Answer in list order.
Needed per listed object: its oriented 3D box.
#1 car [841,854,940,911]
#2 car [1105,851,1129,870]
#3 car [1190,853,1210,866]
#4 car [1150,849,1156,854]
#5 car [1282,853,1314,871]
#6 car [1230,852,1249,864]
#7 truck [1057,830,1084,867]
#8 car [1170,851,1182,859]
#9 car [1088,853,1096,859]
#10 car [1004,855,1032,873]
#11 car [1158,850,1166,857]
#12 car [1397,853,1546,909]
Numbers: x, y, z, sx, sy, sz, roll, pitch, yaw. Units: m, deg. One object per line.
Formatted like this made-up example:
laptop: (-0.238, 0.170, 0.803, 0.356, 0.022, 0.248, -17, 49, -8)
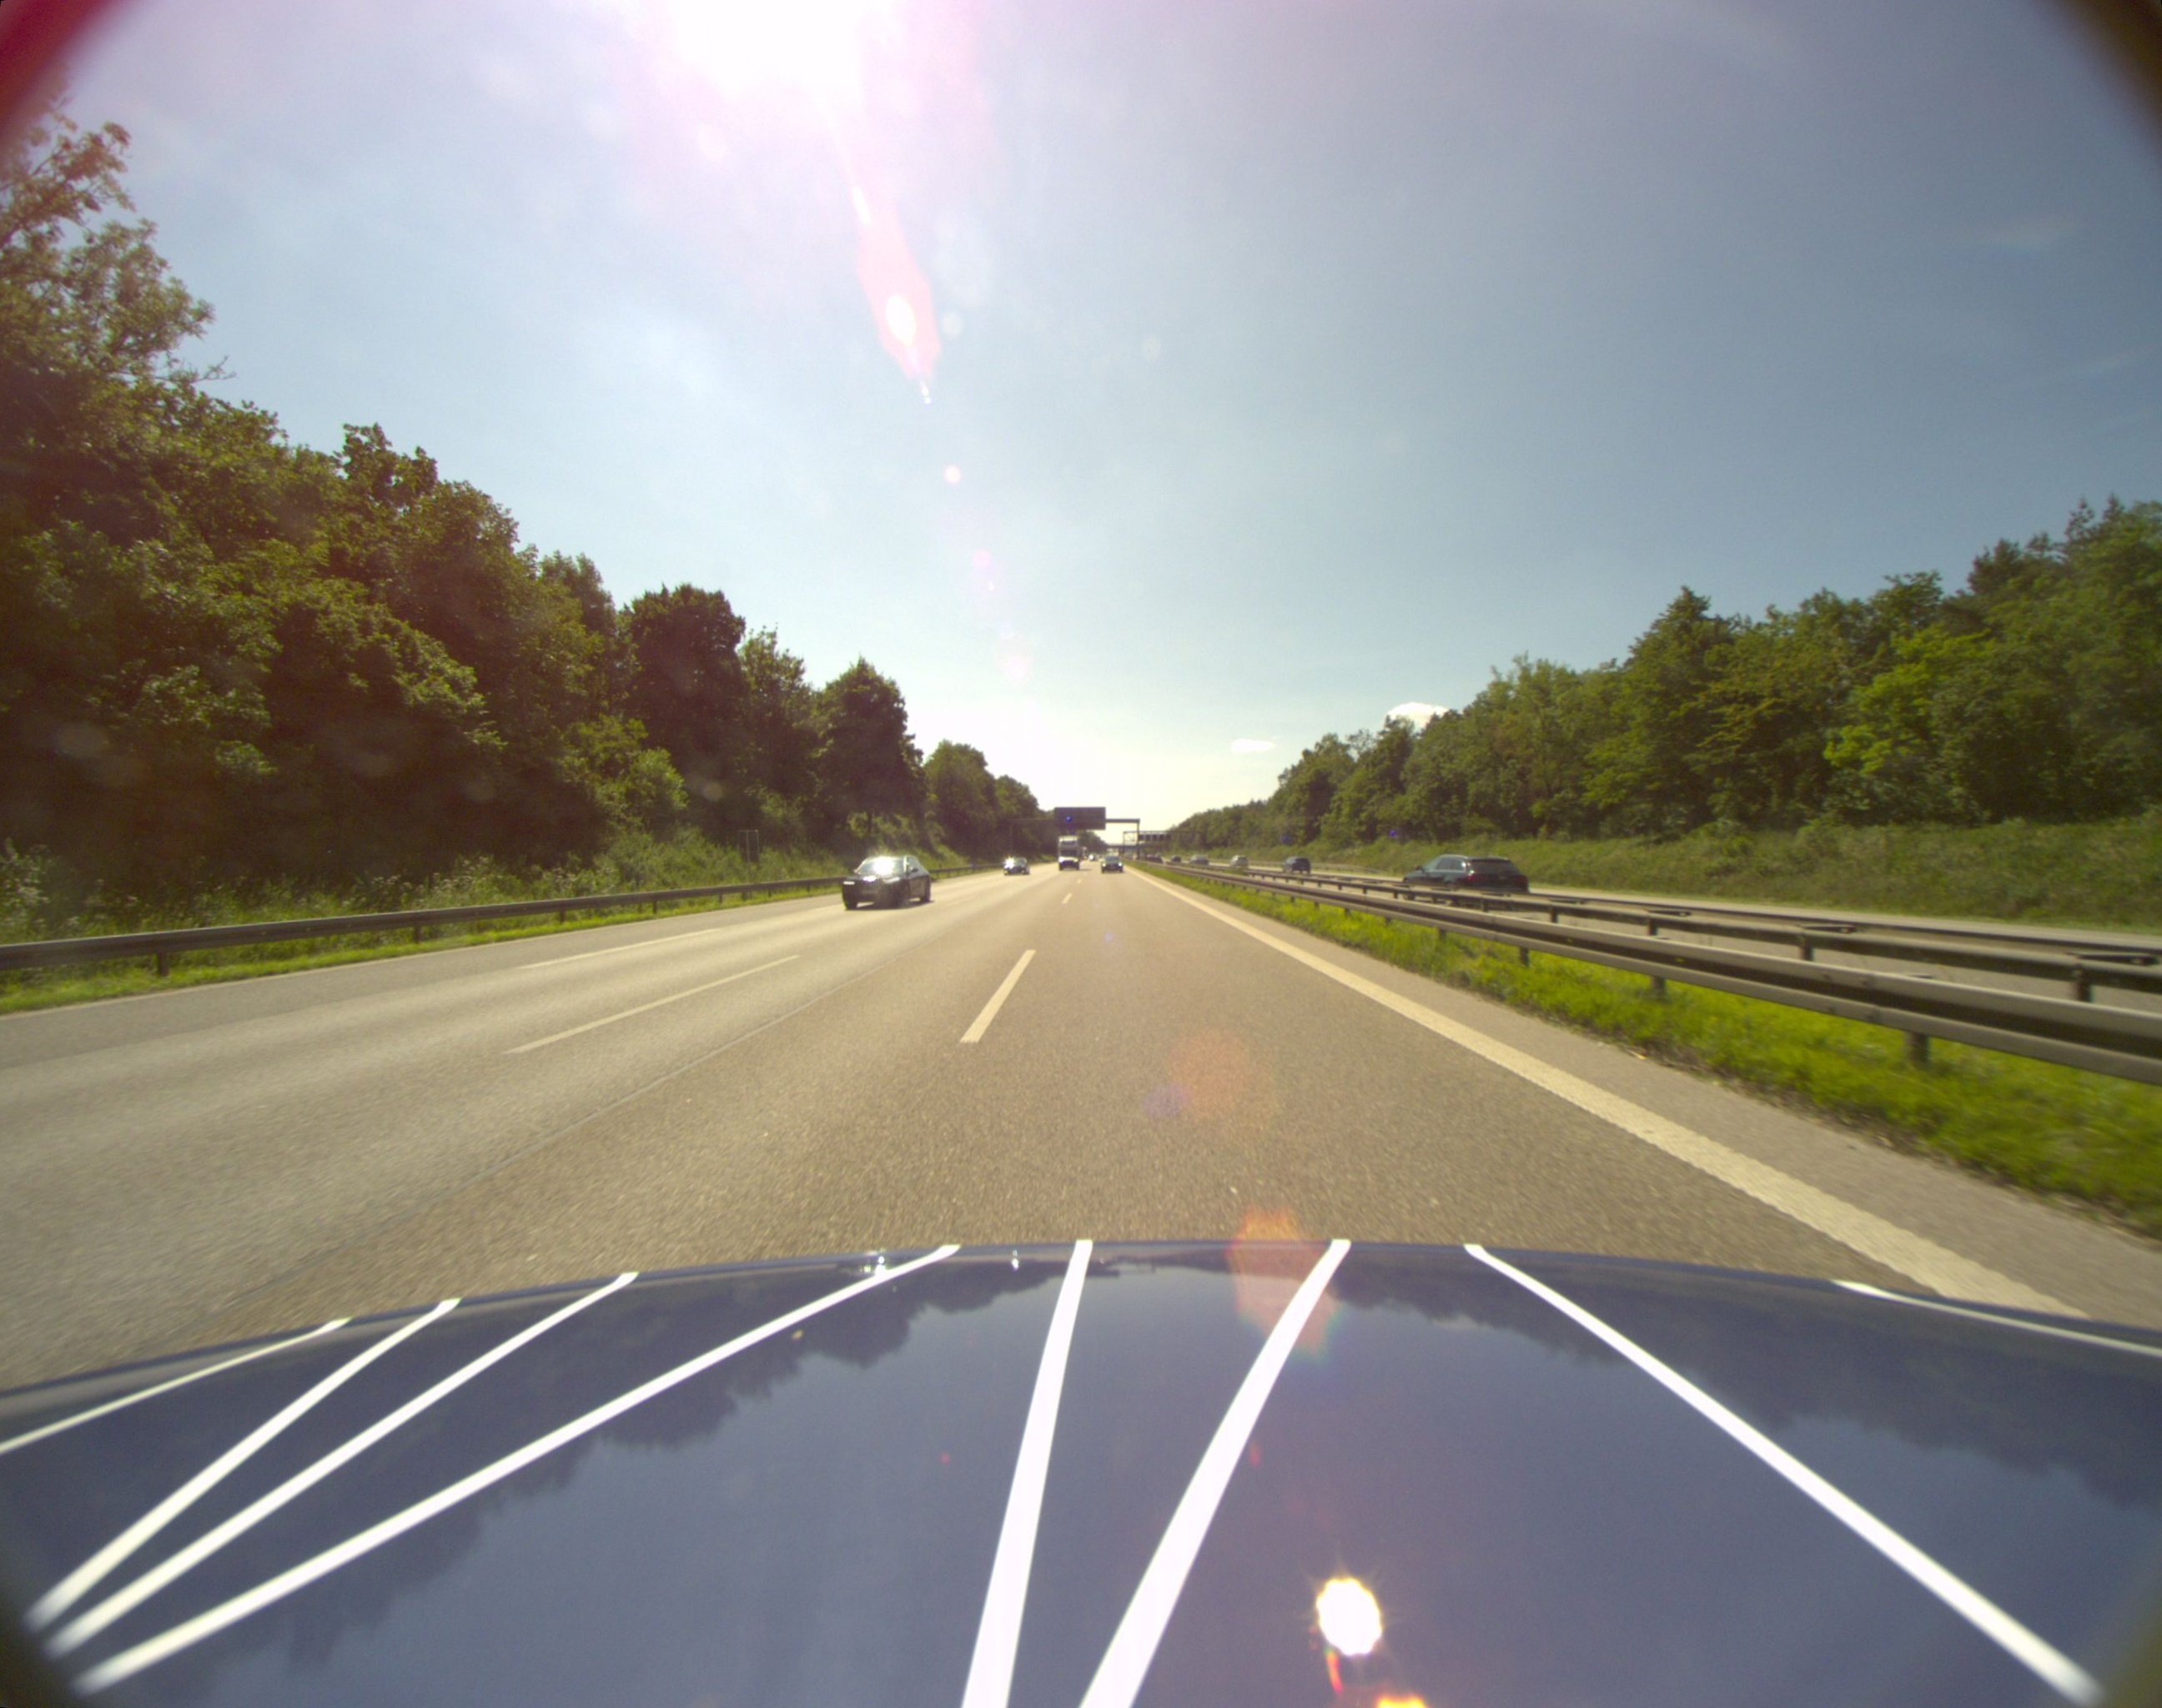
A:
car: (-6.282, 0.881, 25.668, 1.924, 1.659, 4.687, -2, 0, 2)
car: (2.929, 0.517, 62.472, 1.814, 1.483, 3.728, -1, 0, 0)
car: (12.602, 0.559, 80.837, 1.489, 1.348, 4.417, 0, 0, 1)
car: (22.161, -0.861, 233.724, 1.599, 1.434, 3.542, 2, 0, 0)
car: (19.438, 0.693, 68.286, 1.599, 1.559, 4.369, 2, 0, 0)
car: (21.006, 0.546, 100.761, 1.632, 1.483, 4.941, 2, 0, 2)
truck: (-1.051, -0.536, 79.379, 2.676, 3.661, 6.483, -1, 0, 0)
car: (18.523, 0.193, 148.086, 1.760, 1.559, 4.430, 2, 0, 2)
car: (2.490, 0.552, 174.446, 1.831, 1.346, 3.679, 0, 0, 1)
car: (-5.322, 0.848, 64.602, 1.916, 1.390, 4.138, -1, 0, 0)
car: (20.703, -0.073, 194.561, 1.781, 1.624, 5.540, 2, 0, 2)
car: (10.848, 0.680, 21.570, 1.812, 1.397, 4.818, 0, 0, 1)
